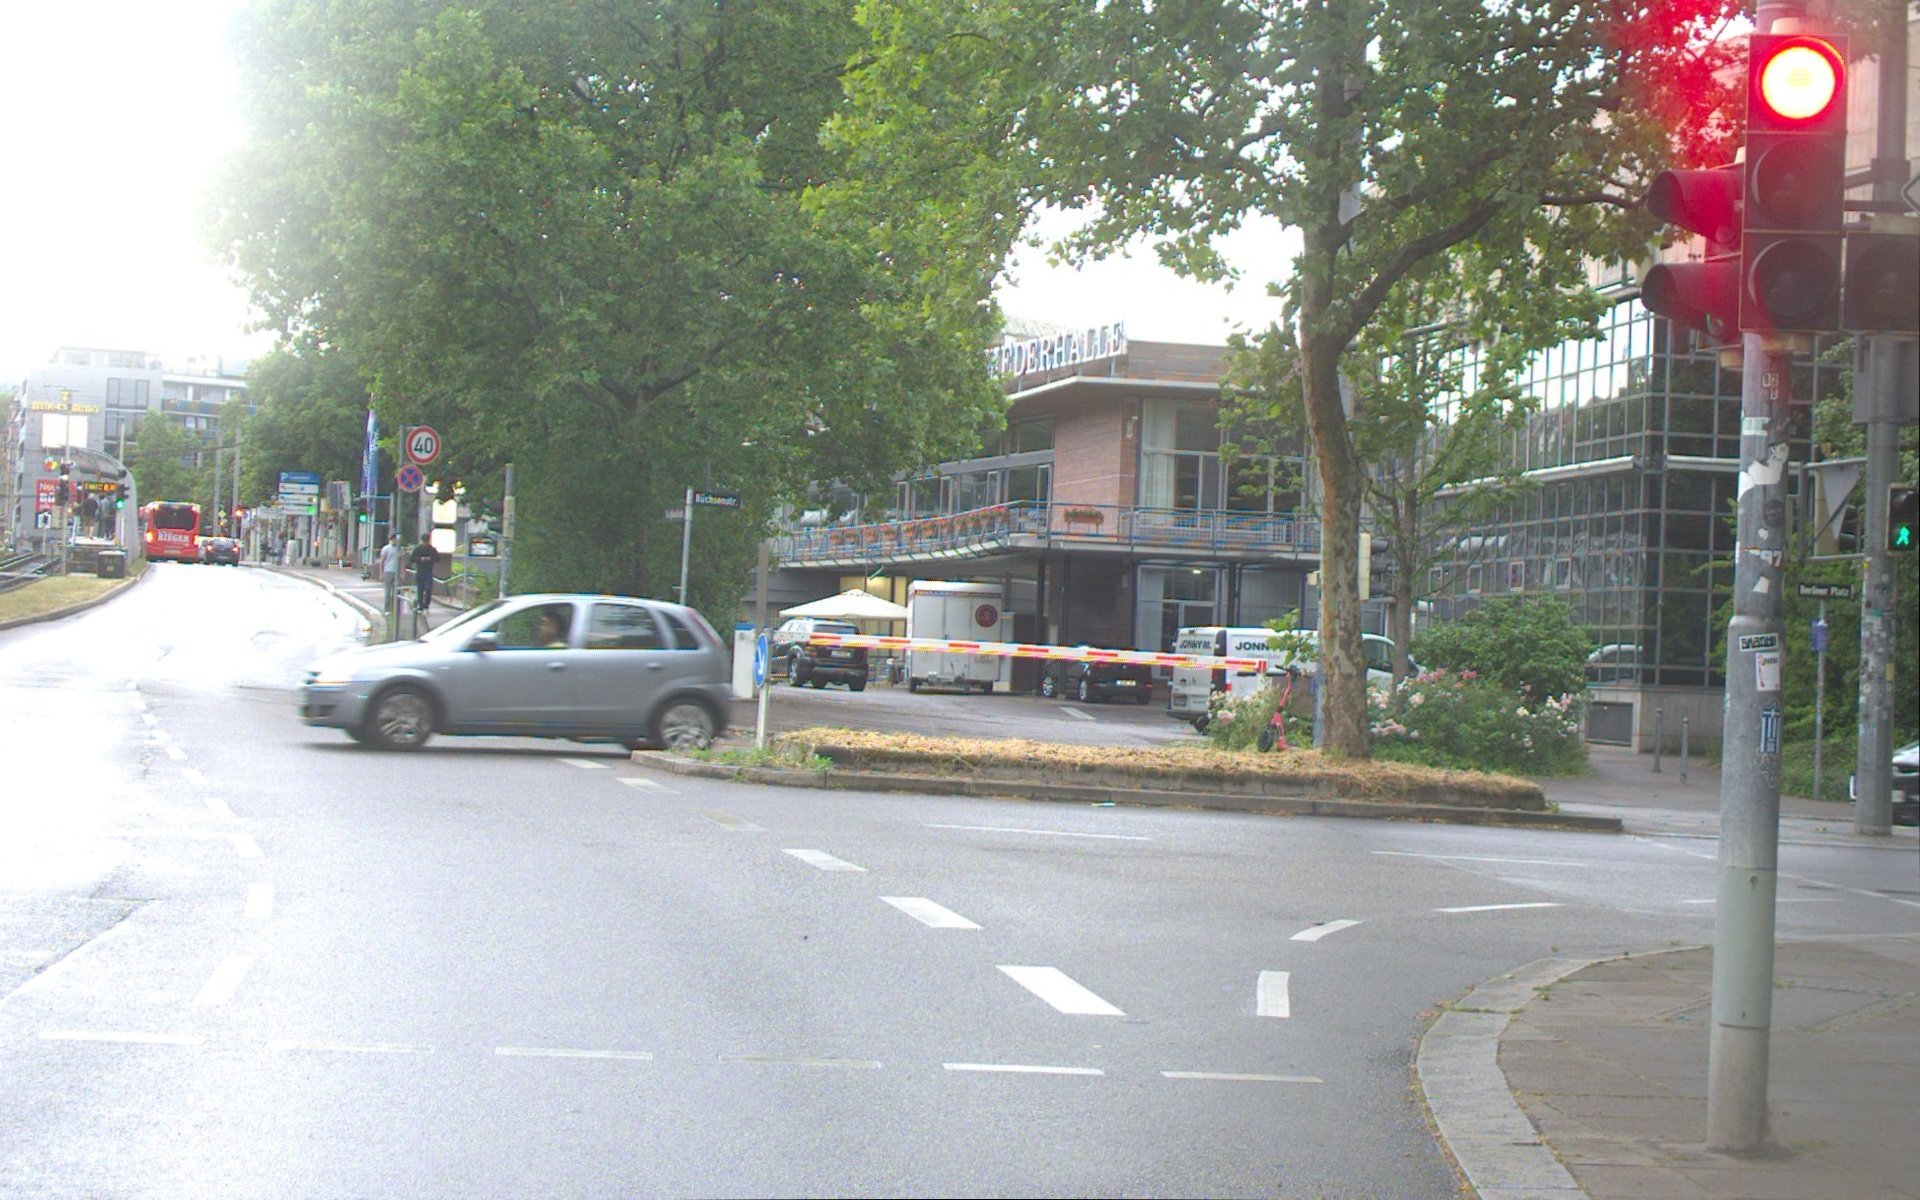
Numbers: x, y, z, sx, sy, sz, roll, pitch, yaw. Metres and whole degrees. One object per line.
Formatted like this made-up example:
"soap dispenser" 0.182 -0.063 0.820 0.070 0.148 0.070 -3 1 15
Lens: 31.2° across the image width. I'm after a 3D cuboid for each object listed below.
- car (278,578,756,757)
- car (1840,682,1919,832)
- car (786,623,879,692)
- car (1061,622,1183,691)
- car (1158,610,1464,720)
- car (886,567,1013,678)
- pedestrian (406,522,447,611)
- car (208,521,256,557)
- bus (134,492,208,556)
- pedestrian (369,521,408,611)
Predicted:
"car" -3.904 0.589 30.220 3.857 1.352 1.633 3 1 -19
"car" 10.806 1.602 33.647 3.858 1.352 1.633 3 1 -9
"car" -3.241 1.460 87.958 2.019 1.546 4.350 3 1 2
"car" 4.173 1.440 89.185 2.019 1.546 4.351 3 1 -13
"car" 6.362 1.181 62.216 5.198 1.725 1.875 3 1 -25
"car" -0.344 0.547 91.402 2.731 2.686 6.923 3 1 -5
"pedestrian" -12.129 -0.756 78.141 0.874 2.007 1.077 1 0 -8
"car" -38.410 -3.201 181.405 2.362 1.810 5.185 1 1 -13
"bus" -40.501 -3.855 176.423 3.589 3.160 10.423 1 1 -13
"pedestrian" -12.970 -0.767 78.038 0.814 2.007 1.077 1 0 -8
